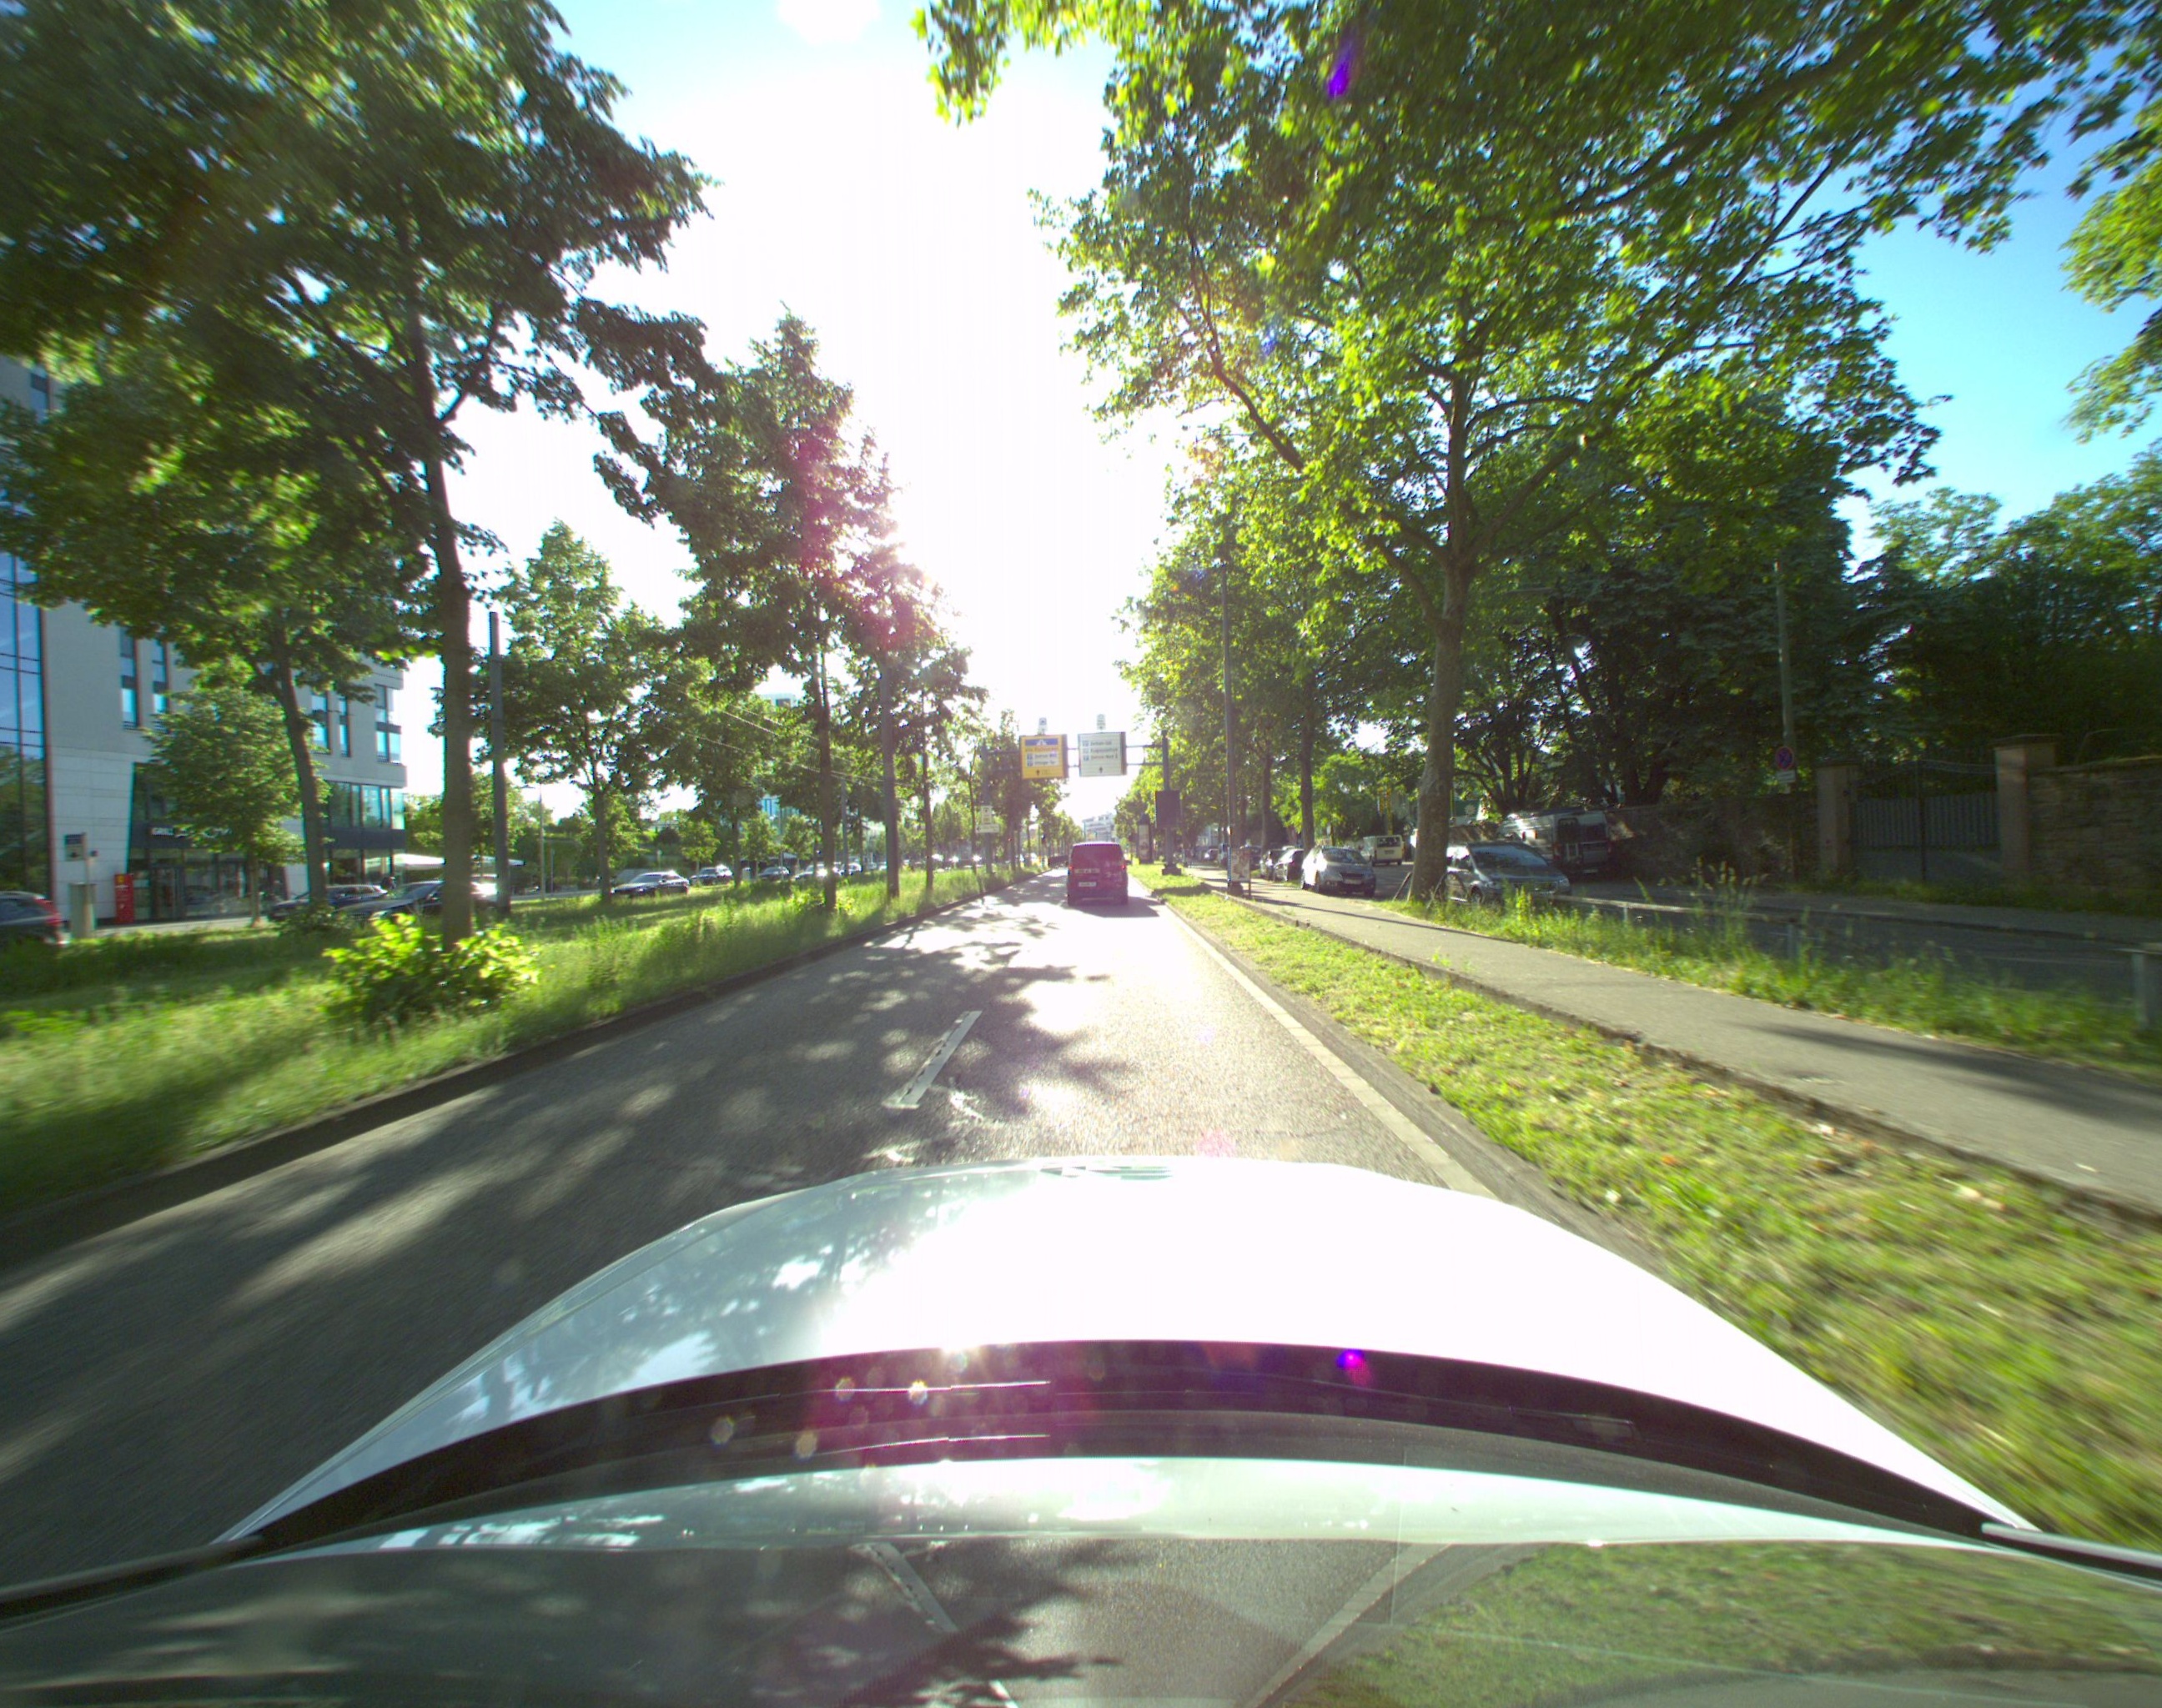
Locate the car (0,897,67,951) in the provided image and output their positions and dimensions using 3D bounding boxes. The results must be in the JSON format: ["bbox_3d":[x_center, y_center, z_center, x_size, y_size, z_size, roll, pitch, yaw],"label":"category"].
[{"bbox_3d":[-30.980,1.974,21.845,1.988,1.441,4.454,0,-1,-1],"label":"car"}]

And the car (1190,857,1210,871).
[{"bbox_3d":[12.354,1.017,84.973,1.988,1.384,4.754,-1,-1,7],"label":"car"}]

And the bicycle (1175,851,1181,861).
[{"bbox_3d":[10.124,0.222,85.195,0.491,1.046,1.905,-1,-1,3],"label":"bicycle"}]

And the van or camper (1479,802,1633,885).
[{"bbox_3d":[17.974,-0.375,31.387,2.543,2.684,6.576,-4,0,6],"label":"van or camper"}]

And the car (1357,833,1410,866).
[{"bbox_3d":[20.092,-0.290,54.303,2.076,2.013,4.951,-2,0,6],"label":"car"}]

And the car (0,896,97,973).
[{"bbox_3d":[-22.328,1.622,15.258,1.986,1.441,4.703,0,-1,1],"label":"car"}]

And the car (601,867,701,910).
[{"bbox_3d":[-21.151,1.620,40.400,1.986,1.841,5.252,-2,0,2],"label":"car"}]

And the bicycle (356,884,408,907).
[{"bbox_3d":[-32.680,1.923,38.137,0.495,1.001,2.189,0,-1,1],"label":"bicycle"}]

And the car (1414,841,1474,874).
[{"bbox_3d":[18.414,0.165,41.523,1.681,1.472,3.765,-4,-1,7],"label":"car"}]

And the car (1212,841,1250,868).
[{"bbox_3d":[11.621,0.080,63.520,2.181,2.014,5.824,-1,-1,3],"label":"car"}]

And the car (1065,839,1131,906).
[{"bbox_3d":[0.433,0.531,24.632,1.803,1.838,3.998,0,-1,-1],"label":"car"}]

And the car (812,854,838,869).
[{"bbox_3d":[-35.945,1.062,114.564,1.985,2.014,4.566,0,-1,3],"label":"car"}]

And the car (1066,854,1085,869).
[{"bbox_3d":[-0.568,0.785,90.658,1.986,1.618,4.001,0,-1,2],"label":"car"}]

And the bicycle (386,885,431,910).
[{"bbox_3d":[-37.147,2.387,44.983,0.583,1.252,1.850,-1,-1,23],"label":"bicycle"}]

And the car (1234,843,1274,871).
[{"bbox_3d":[10.577,0.183,50.029,1.729,1.642,4.356,-1,-1,3],"label":"car"}]

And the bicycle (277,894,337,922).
[{"bbox_3d":[-37.303,2.579,39.276,0.731,1.198,2.241,0,-1,1],"label":"bicycle"}]

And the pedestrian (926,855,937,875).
[{"bbox_3d":[-13.504,0.978,73.586,0.818,1.836,0.726,0,-1,-1],"label":"pedestrian"}]

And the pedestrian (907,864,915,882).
[{"bbox_3d":[-15.023,1.668,72.094,0.547,1.518,0.589,-1,-1,6],"label":"pedestrian"}]

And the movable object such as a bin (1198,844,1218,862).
[{"bbox_3d":[14.230,-0.112,91.599,2.071,2.014,2.139,-1,-1,5],"label":"movable object such as a bin"}]

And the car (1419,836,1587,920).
[{"bbox_3d":[9.202,0.496,18.235,1.784,1.634,4.635,-1,-1,6],"label":"car"}]

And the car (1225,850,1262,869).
[{"bbox_3d":[11.356,0.372,57.295,1.985,1.290,4.056,-1,-1,3],"label":"car"}]

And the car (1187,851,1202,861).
[{"bbox_3d":[17.210,0.325,123.602,1.864,1.367,4.001,0,-1,1],"label":"car"}]

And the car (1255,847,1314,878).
[{"bbox_3d":[9.612,0.374,38.779,1.984,1.381,4.683,0,0,5],"label":"car"}]

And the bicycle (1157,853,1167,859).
[{"bbox_3d":[15.963,0.411,159.748,1.910,1.268,0.479,-2,0,2],"label":"bicycle"}]

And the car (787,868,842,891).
[{"bbox_3d":[-18.195,1.728,55.819,1.985,1.441,4.461,-1,-1,4],"label":"car"}]

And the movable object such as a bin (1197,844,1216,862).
[{"bbox_3d":[14.485,-0.080,94.358,2.071,2.014,2.139,-1,-1,5],"label":"movable object such as a bin"}]

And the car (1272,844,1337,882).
[{"bbox_3d":[8.909,0.354,32.756,1.785,1.438,3.887,-1,-1,3],"label":"car"}]

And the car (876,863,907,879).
[{"bbox_3d":[-20.362,1.806,87.727,1.984,1.571,4.171,-2,0,4],"label":"car"}]

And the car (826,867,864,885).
[{"bbox_3d":[-21.023,1.951,72.750,1.986,1.528,4.320,0,-1,1],"label":"car"}]

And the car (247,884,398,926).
[{"bbox_3d":[-30.170,1.980,32.618,1.950,1.441,4.267,0,-1,2],"label":"car"}]

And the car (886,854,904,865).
[{"bbox_3d":[-33.637,0.984,147.500,1.985,2.014,4.566,0,-1,3],"label":"car"}]

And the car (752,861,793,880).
[{"bbox_3d":[-29.587,1.552,78.259,1.871,1.621,4.614,-2,0,3],"label":"car"}]

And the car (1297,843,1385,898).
[{"bbox_3d":[8.175,0.495,25.930,1.785,1.560,4.025,1,0,5],"label":"car"}]

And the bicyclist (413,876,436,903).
[{"bbox_3d":[-35.032,1.881,43.483,0.428,1.419,0.956,0,-1,3],"label":"bicyclist"}]

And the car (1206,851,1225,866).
[{"bbox_3d":[13.356,0.452,80.920,1.654,1.500,2.992,-1,-1,4],"label":"car"}]

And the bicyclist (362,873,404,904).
[{"bbox_3d":[-32.682,1.613,38.145,0.487,1.406,1.661,0,-1,1],"label":"bicyclist"}]
